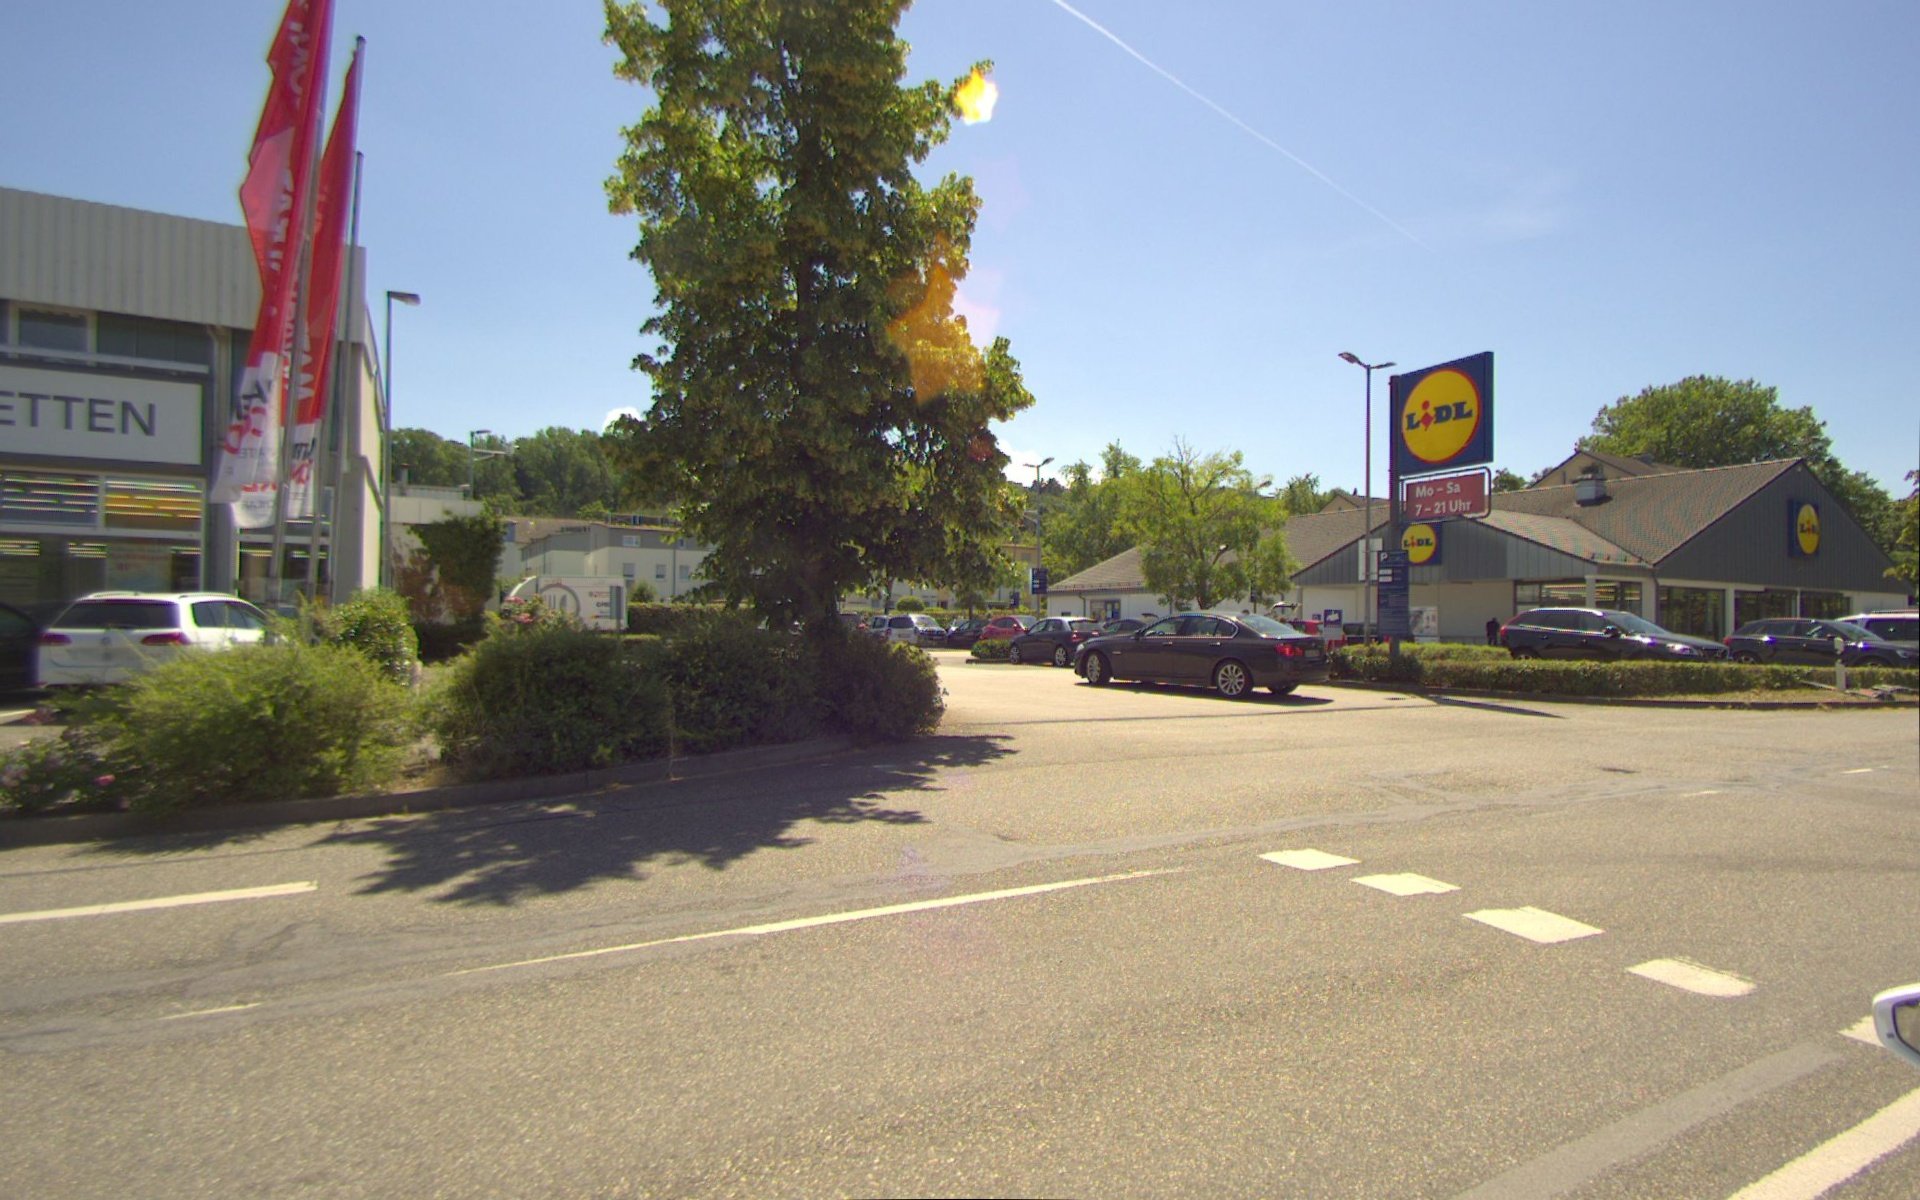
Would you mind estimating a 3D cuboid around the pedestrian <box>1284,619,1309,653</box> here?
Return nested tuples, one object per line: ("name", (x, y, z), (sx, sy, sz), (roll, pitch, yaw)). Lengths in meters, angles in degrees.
("pedestrian", (15.764, 1.675, 47.093), (0.793, 1.534, 0.790), (2, 0, -39))

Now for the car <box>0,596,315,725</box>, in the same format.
("car", (-10.585, 0.699, 13.615), (1.947, 1.466, 4.183), (1, 0, -16))

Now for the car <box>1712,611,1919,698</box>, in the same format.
("car", (21.568, 1.266, 24.769), (2.073, 1.869, 4.376), (2, 0, -22))

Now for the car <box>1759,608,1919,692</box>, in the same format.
("car", (23.856, 1.288, 26.179), (1.883, 2.006, 4.335), (2, 0, -30))

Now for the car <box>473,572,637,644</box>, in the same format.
("car", (-16.366, 0.352, 40.684), (5.831, 2.662, 2.270), (2, 0, -30))

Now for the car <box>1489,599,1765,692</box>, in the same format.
("car", (14.513, 0.925, 22.209), (2.069, 1.785, 4.695), (2, 0, -24))

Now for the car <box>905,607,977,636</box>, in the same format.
("car", (-1.149, 1.297, 60.235), (3.953, 1.623, 1.785), (2, 0, -30))

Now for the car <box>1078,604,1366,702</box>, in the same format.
("car", (4.565, 0.857, 17.973), (4.622, 1.419, 1.928), (2, 0, 43))

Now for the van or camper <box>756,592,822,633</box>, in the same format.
("van or camper", (-8.802, 0.605, 51.516), (1.986, 1.962, 4.342), (2, 0, -29))

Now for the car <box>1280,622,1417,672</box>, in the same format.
("car", (13.746, 1.632, 35.774), (1.807, 1.550, 4.288), (2, 0, -32))

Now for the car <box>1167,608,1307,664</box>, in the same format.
("car", (9.341, 1.197, 34.219), (2.091, 1.677, 4.288), (2, 0, -32))

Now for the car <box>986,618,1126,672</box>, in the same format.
("car", (2.740, 1.283, 29.549), (1.753, 1.387, 4.205), (2, -1, -36))

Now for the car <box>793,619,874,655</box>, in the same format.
("car", (-5.666, 1.636, 44.684), (1.753, 1.387, 4.205), (2, -1, -36))

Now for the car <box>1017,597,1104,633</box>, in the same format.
("car", (4.945, 0.742, 49.442), (3.952, 1.623, 1.785), (2, 0, -29))

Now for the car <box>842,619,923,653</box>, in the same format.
("car", (-3.620, 1.622, 46.239), (1.753, 1.387, 4.205), (2, -1, -36))

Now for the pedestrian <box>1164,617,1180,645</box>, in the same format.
("pedestrian", (12.330, 1.786, 58.415), (0.627, 1.601, 0.670), (2, 0, -32))

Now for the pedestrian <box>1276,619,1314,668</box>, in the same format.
("pedestrian", (10.633, 1.366, 31.864), (0.877, 1.503, 0.805), (2, 0, 39))

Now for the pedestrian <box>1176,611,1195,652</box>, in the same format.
("pedestrian", (10.125, 1.407, 45.144), (0.738, 1.830, 0.773), (2, 0, 10))

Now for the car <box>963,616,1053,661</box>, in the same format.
("car", (1.746, 1.410, 37.517), (1.632, 1.506, 3.587), (1, 0, -31))

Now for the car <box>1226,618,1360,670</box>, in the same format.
("car", (11.536, 1.501, 35.074), (1.807, 1.550, 4.288), (2, 0, -32))

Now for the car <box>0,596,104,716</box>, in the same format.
("car", (-13.078, 0.688, 12.692), (1.966, 1.494, 3.628), (1, 0, -13))
